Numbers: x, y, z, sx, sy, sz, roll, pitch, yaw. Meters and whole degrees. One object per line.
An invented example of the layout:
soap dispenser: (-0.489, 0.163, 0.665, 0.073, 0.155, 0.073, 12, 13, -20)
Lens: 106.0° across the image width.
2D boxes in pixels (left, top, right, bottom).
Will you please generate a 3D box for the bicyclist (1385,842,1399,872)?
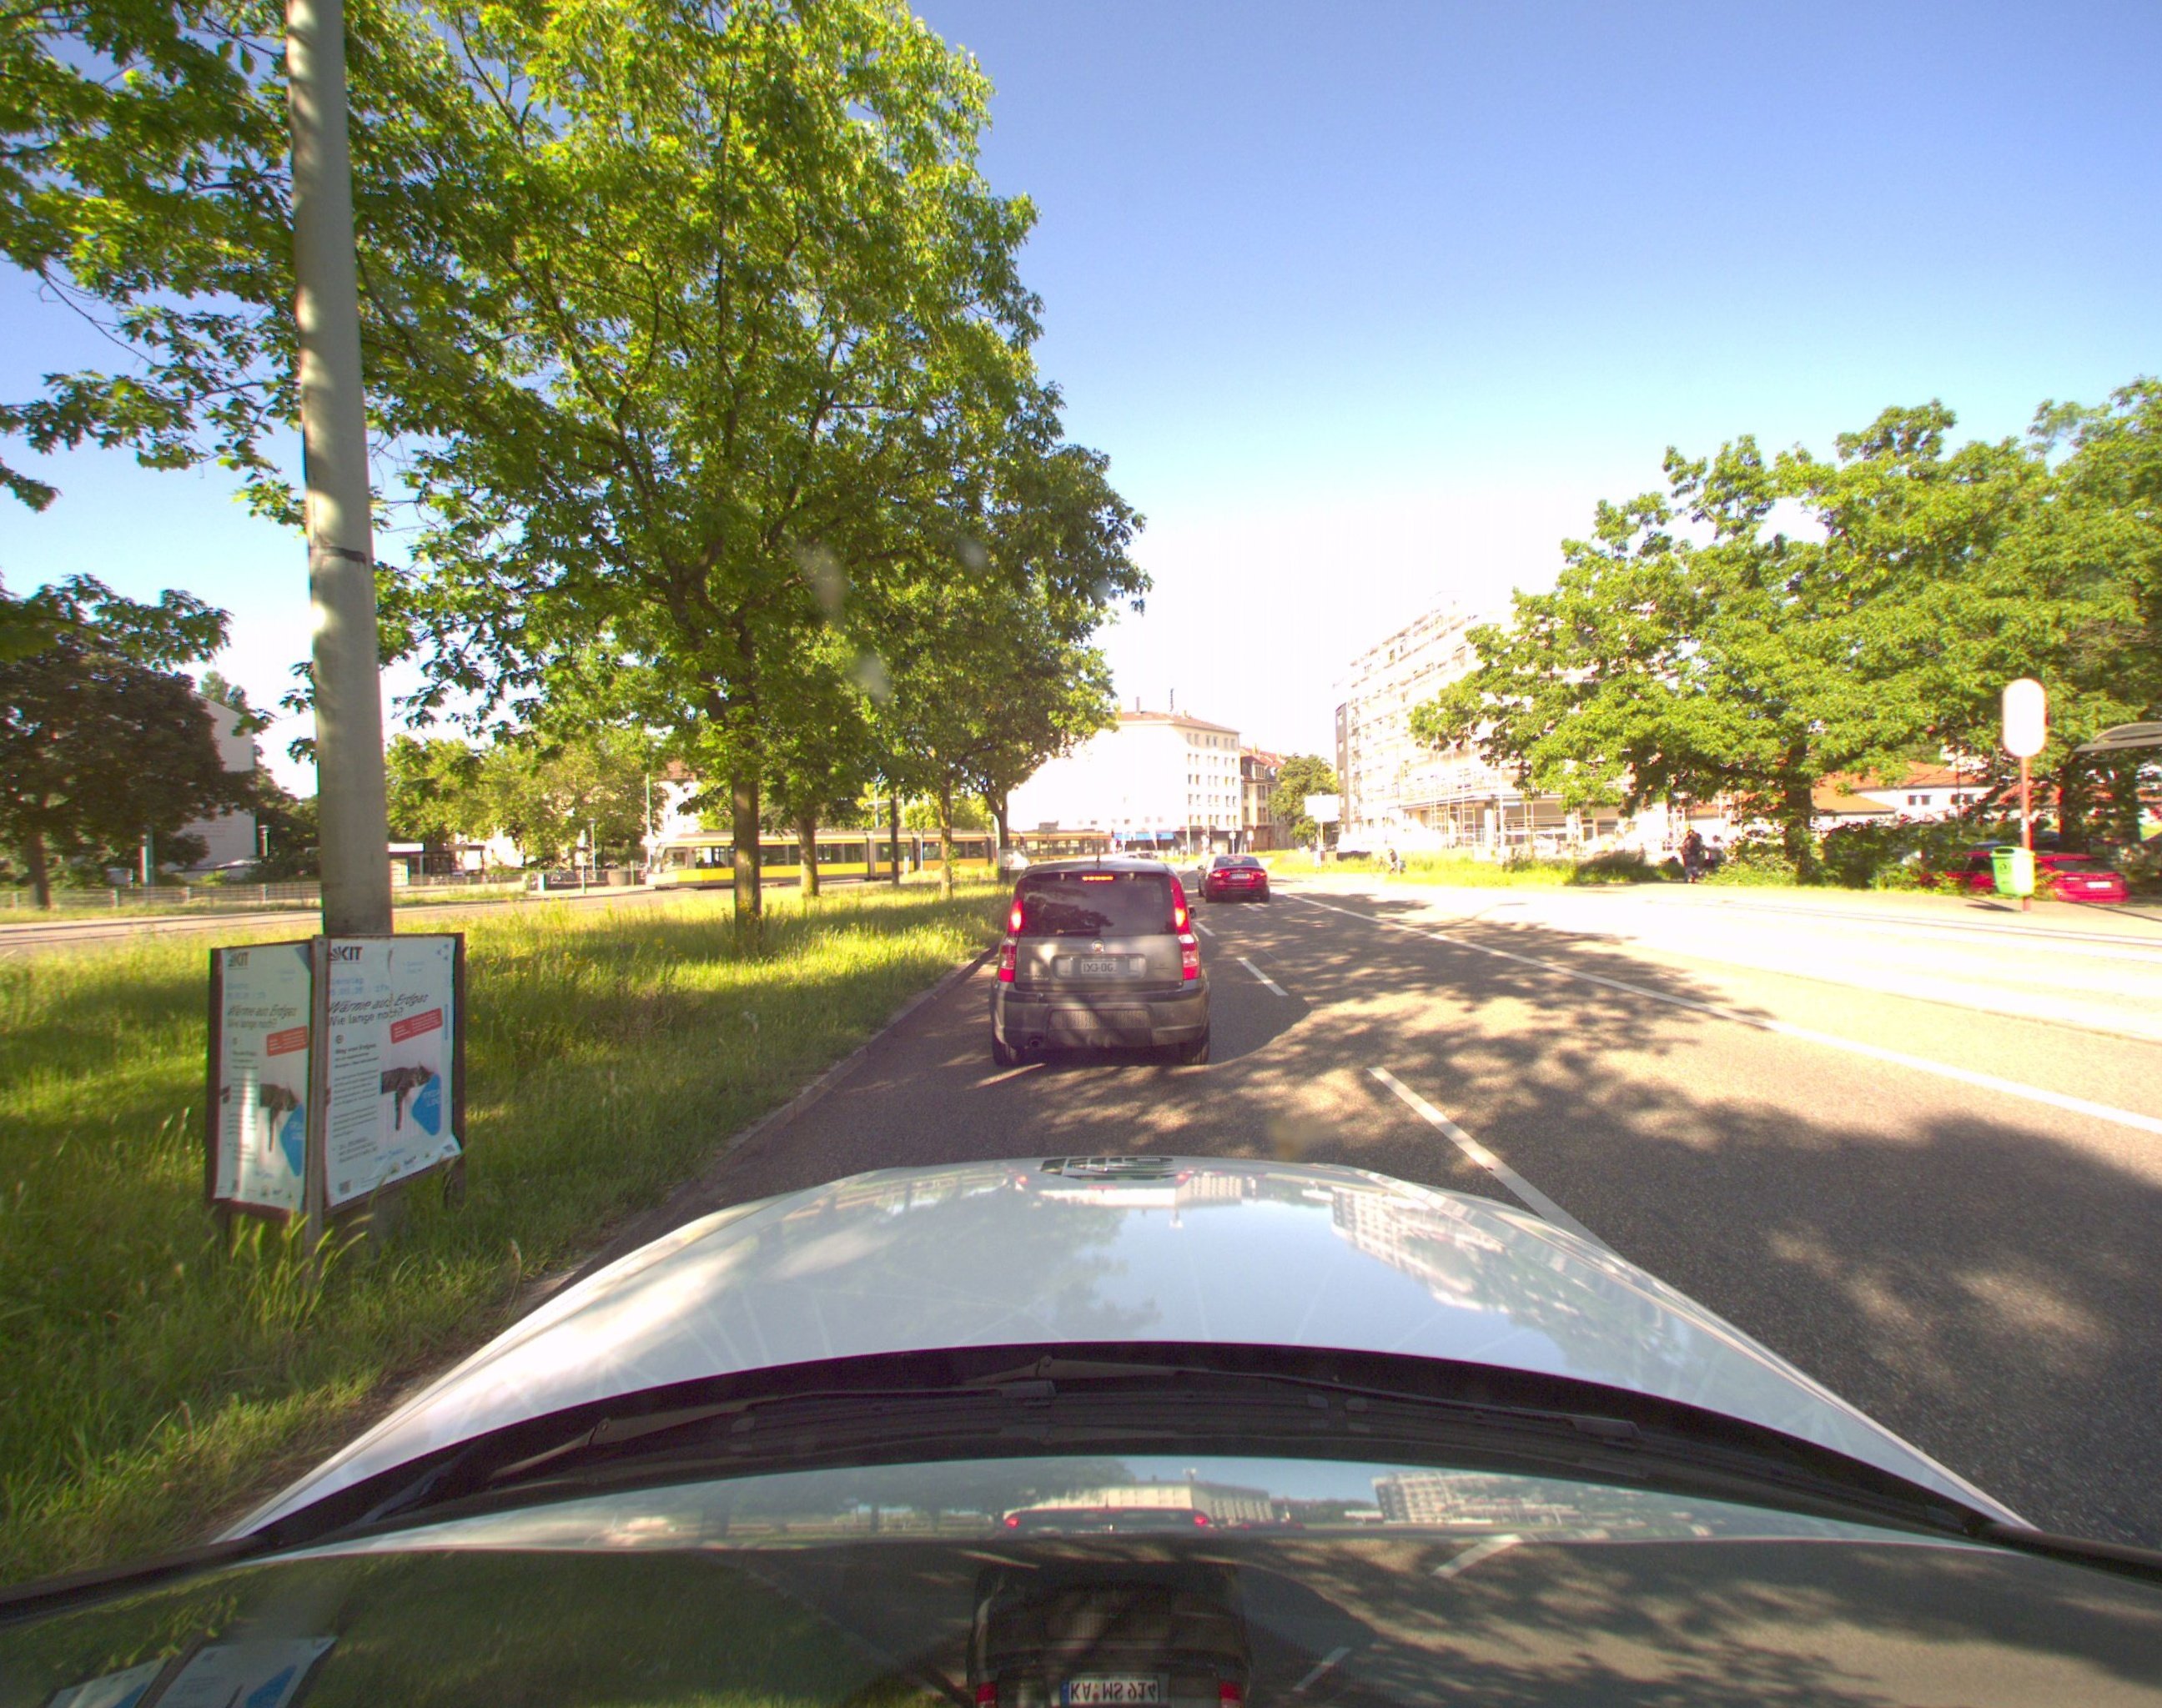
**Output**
bicyclist: (15.739, 0.140, 41.243, 0.579, 1.493, 0.553, -2, 0, 17)

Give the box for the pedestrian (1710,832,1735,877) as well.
pedestrian: (20.906, 0.017, 26.550, 0.516, 1.447, 0.595, -2, 0, 28)

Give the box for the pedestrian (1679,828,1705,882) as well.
pedestrian: (18.576, 0.017, 24.777, 0.516, 1.612, 0.595, -2, 0, 28)

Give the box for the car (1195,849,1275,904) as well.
car: (4.657, 0.629, 25.170, 1.879, 1.428, 4.391, -2, 1, 4)

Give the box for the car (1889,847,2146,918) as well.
car: (21.988, 0.601, 19.375, 1.747, 1.486, 3.743, -2, 0, -2)

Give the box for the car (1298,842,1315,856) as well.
car: (24.919, -0.534, 89.997, 1.669, 1.449, 3.588, -2, 0, 18)

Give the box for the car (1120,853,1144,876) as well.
car: (3.098, 0.625, 49.685, 1.351, 1.281, 2.877, -2, 0, 2)

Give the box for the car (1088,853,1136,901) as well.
car: (1.030, 0.732, 27.373, 1.458, 1.424, 3.383, -2, 0, 2)

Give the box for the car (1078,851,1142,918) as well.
car: (0.727, 0.703, 20.795, 1.458, 1.508, 3.506, -2, 0, 2)

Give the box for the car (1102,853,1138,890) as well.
car: (1.603, 0.697, 33.968, 1.351, 1.449, 3.267, -2, 0, 2)

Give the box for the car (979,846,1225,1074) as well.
car: (0.205, 0.708, 7.536, 1.622, 1.508, 4.002, -2, 0, 2)

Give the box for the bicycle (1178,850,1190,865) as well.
bicycle: (8.459, 0.288, 66.949, 0.706, 1.198, 2.520, 0, -1, 1)

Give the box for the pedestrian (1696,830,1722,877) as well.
pedestrian: (19.346, -0.019, 25.083, 0.516, 1.447, 0.595, -2, 0, 28)

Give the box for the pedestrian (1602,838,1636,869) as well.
pedestrian: (25.775, -0.032, 39.036, 0.893, 1.447, 0.962, -2, 0, -13)

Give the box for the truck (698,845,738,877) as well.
truck: (-33.072, 0.641, 74.206, 2.012, 2.805, 3.951, -2, 0, -44)

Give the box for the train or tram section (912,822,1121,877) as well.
train or tram section: (-4.271, -0.544, 65.444, 3.263, 3.770, 20.942, -2, 0, 38)

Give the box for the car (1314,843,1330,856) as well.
car: (27.745, -0.531, 93.559, 1.514, 1.314, 3.304, -2, 0, 20)

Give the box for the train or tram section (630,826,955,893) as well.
train or tram section: (-17.221, 0.082, 51.475, 19.489, 3.513, 3.267, -2, 0, -41)

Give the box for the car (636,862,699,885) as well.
car: (-33.497, 1.529, 66.033, 1.974, 1.684, 4.025, -2, 0, 40)

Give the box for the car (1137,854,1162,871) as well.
car: (4.868, 0.580, 57.717, 1.133, 1.064, 2.735, -2, 0, 19)

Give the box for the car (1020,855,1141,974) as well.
car: (0.050, 0.752, 11.764, 1.458, 1.401, 3.395, -2, 0, 2)

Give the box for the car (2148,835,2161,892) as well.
car: (29.863, 0.222, 20.178, 1.911, 1.486, 3.725, -2, 0, -17)

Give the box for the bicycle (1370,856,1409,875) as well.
bicycle: (15.626, 0.587, 41.244, 1.776, 0.945, 0.562, -2, 0, 16)

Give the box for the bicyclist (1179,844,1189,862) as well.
bicyclist: (8.443, -0.061, 66.745, 0.739, 1.438, 0.845, 0, -1, 0)
